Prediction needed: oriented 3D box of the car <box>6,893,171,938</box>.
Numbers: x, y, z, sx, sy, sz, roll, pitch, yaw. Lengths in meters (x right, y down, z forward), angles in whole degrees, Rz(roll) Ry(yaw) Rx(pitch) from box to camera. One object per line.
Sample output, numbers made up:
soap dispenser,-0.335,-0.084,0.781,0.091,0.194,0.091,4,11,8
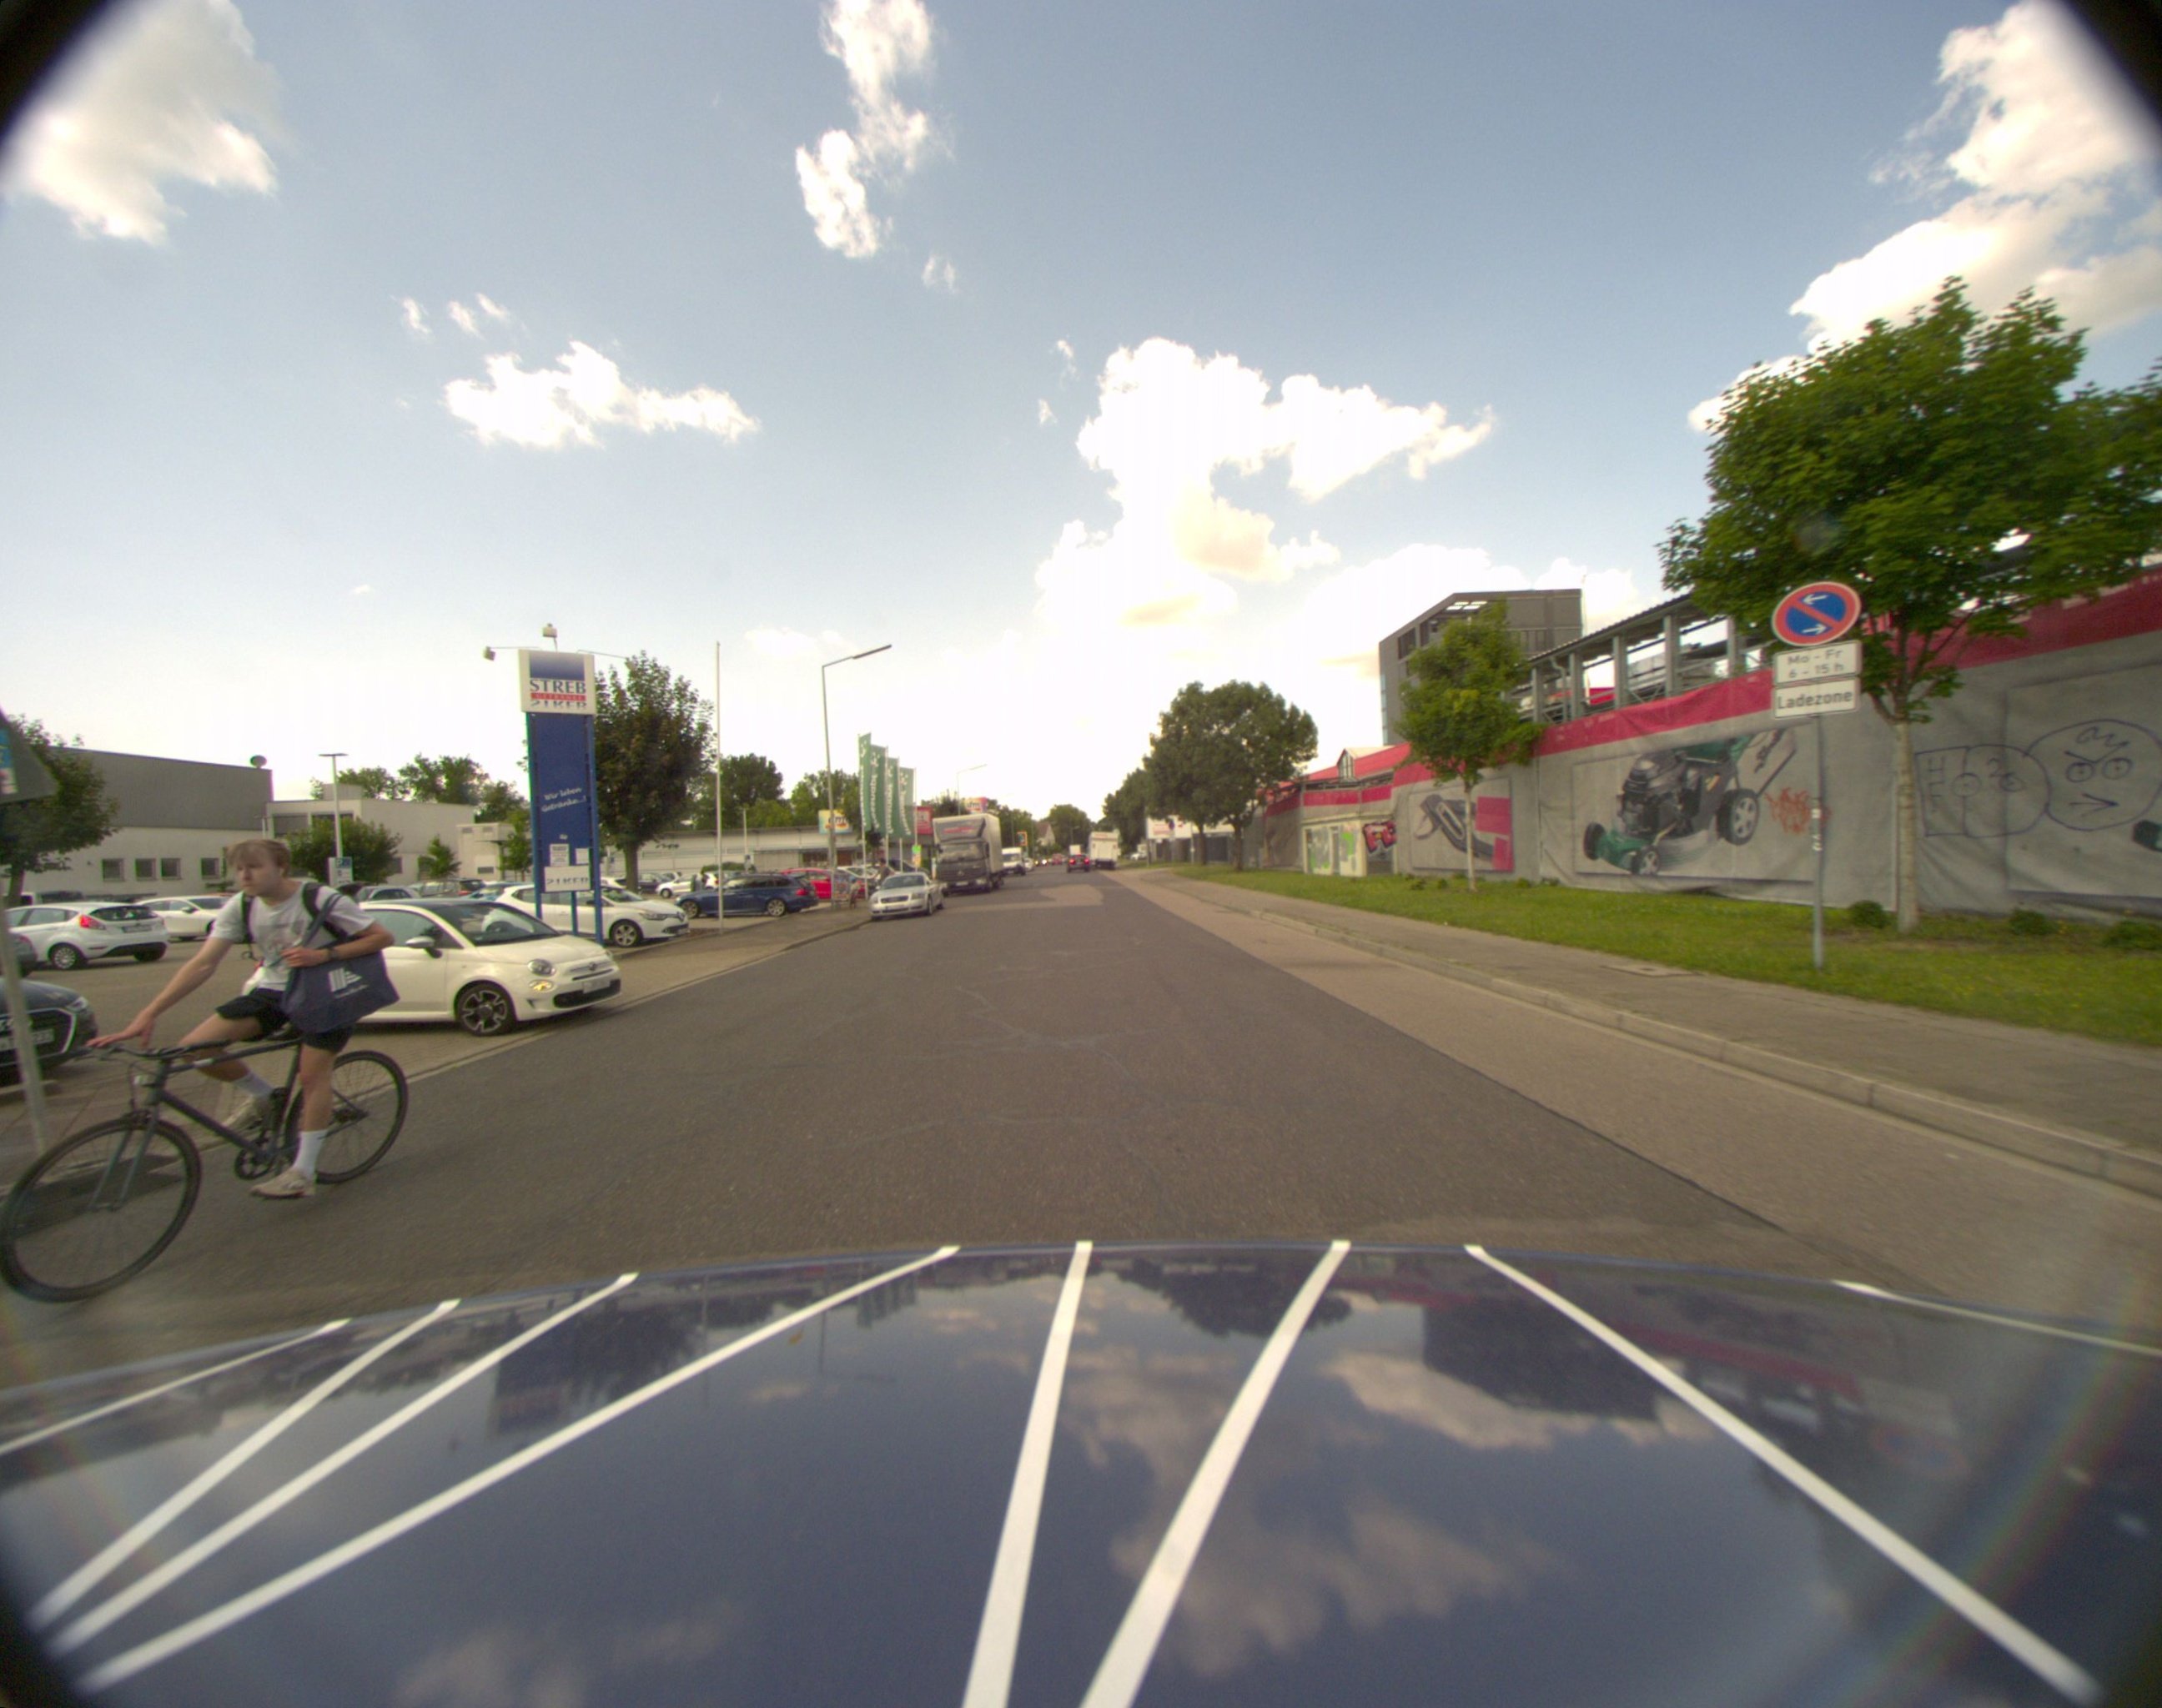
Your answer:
car,-38.646,2.360,29.659,3.933,1.475,1.724,-2,0,-3

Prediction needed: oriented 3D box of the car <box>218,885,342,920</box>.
car,-39.031,2.343,37.109,4.034,1.475,1.724,-2,0,-3

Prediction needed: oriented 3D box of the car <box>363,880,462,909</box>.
car,-39.080,2.359,44.490,4.142,1.475,1.724,-2,0,-3

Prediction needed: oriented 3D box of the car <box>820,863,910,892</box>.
car,-12.004,1.288,42.475,4.493,1.429,1.858,-2,0,-2

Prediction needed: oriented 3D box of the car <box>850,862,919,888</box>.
car,-12.259,1.286,47.537,3.821,1.490,1.653,-2,0,0

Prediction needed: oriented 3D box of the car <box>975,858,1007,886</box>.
car,-5.334,1.043,45.429,1.549,1.502,3.625,-5,0,-3

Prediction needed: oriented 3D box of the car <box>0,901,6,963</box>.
car,-27.616,1.913,17.084,4.129,1.475,1.724,-2,0,-3

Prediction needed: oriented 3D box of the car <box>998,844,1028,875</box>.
car,-5.851,0.477,65.898,2.057,2.395,5.453,-5,0,-1

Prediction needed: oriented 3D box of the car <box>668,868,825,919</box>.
car,-10.929,1.274,25.091,4.319,1.435,1.846,-2,0,-3

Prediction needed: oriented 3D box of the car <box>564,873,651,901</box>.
car,-27.769,1.911,44.639,3.946,1.475,1.724,-2,0,-3

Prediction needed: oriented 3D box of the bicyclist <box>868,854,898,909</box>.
bicyclist,-7.050,0.959,27.101,0.796,1.899,0.829,1,1,1

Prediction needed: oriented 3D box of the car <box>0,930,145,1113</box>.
car,-11.094,1.488,6.362,4.190,1.422,1.806,-1,0,0

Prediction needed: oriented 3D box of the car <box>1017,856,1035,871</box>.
car,-6.015,1.045,83.642,1.699,1.448,3.549,-5,0,-1

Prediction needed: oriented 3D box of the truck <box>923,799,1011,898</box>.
truck,-5.348,-0.244,37.337,2.785,4.092,8.277,-5,0,-1

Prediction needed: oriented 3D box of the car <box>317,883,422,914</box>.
car,-39.214,2.438,41.945,4.025,1.475,1.724,-2,0,-3

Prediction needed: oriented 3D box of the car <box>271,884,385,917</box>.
car,-38.984,2.380,39.403,4.017,1.475,1.724,-2,0,-3

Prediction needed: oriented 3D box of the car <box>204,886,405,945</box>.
car,-22.934,1.784,22.565,4.006,1.475,1.724,-2,0,-3

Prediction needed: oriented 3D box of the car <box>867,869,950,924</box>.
car,-5.301,1.260,23.836,1.666,1.332,3.984,-6,0,-1

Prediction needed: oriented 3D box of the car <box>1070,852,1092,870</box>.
car,-0.013,0.595,66.936,1.879,1.610,4.293,0,0,-1

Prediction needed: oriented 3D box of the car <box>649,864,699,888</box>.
car,-29.507,1.591,55.138,2.717,1.534,1.646,-3,0,-2

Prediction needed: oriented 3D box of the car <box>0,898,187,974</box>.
car,-23.340,1.838,17.141,4.070,1.475,1.724,-2,0,-3

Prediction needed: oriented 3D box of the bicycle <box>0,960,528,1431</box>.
bicycle,-3.976,1.308,3.561,0.800,1.173,2.626,-4,1,-1

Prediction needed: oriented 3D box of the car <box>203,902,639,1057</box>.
car,-7.433,1.379,8.809,3.608,1.461,1.689,-1,0,3

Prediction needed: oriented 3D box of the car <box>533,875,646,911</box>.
car,-22.486,1.766,34.878,3.946,1.475,1.724,-2,0,-3

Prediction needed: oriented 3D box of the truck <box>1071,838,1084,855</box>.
truck,-1.051,-1.813,196.875,2.979,4.132,9.665,-3,0,-1

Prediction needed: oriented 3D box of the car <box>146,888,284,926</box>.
car,-39.242,2.386,34.506,4.042,1.475,1.724,-2,0,-3

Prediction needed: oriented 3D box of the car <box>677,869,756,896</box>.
car,-22.416,1.735,46.848,3.946,1.475,1.724,-2,0,-3

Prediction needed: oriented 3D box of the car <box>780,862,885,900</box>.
car,-11.396,1.211,35.108,4.299,1.533,1.748,-2,0,-6

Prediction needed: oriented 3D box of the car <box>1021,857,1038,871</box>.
car,-5.983,1.096,88.077,1.699,1.448,3.704,-5,0,-1

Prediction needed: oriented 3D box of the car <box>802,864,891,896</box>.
car,-11.547,1.266,37.627,3.895,1.424,1.748,-2,0,-6

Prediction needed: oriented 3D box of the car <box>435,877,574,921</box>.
car,-22.427,1.744,29.691,3.993,1.475,1.740,-2,0,-3

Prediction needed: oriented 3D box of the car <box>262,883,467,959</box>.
car,-18.013,1.616,19.377,1.724,1.510,3.752,-3,0,-3

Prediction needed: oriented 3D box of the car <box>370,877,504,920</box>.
car,-27.197,1.848,32.184,4.069,1.568,1.740,-2,0,-3

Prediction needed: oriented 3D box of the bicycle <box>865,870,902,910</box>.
bicycle,-7.052,1.258,27.169,0.794,1.287,1.882,1,1,1

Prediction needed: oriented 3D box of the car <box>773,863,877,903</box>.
car,-10.868,1.228,32.479,3.895,1.513,1.748,-2,0,-6

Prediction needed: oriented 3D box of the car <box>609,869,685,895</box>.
car,-28.428,1.815,49.826,3.946,1.475,1.724,-2,0,-3

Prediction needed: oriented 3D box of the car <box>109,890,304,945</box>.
car,-27.824,2.007,24.296,4.021,1.475,1.724,-2,0,-3

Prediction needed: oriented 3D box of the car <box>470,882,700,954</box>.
car,-11.092,1.402,17.228,3.963,1.402,1.796,-1,0,-4

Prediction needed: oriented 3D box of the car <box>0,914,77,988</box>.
car,-22.784,1.956,14.677,4.115,1.330,1.793,-2,0,-3

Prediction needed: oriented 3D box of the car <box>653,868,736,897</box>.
car,-22.630,1.653,44.567,3.946,1.475,1.724,-2,0,-3

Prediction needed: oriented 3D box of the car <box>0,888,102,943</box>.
car,-38.265,2.215,27.140,4.076,1.790,1.724,-2,0,-3

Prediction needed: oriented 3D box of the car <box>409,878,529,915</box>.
car,-27.909,1.937,34.740,3.946,1.475,1.724,-2,0,-3

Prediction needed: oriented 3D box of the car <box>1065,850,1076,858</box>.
car,-1.950,0.016,139.776,1.983,1.467,3.999,-3,0,-1

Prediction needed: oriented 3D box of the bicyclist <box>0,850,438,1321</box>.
bicyclist,-4.005,0.904,3.555,0.808,1.782,1.206,-5,1,-1

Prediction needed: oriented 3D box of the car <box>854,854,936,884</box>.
car,-12.226,0.996,50.134,4.906,1.777,1.902,-2,0,-2

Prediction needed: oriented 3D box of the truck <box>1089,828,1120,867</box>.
truck,2.296,-0.683,77.017,2.755,3.701,7.169,-1,1,-1

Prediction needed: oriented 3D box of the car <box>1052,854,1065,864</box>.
car,-3.572,0.840,121.204,1.857,1.467,3.999,-3,0,-1
